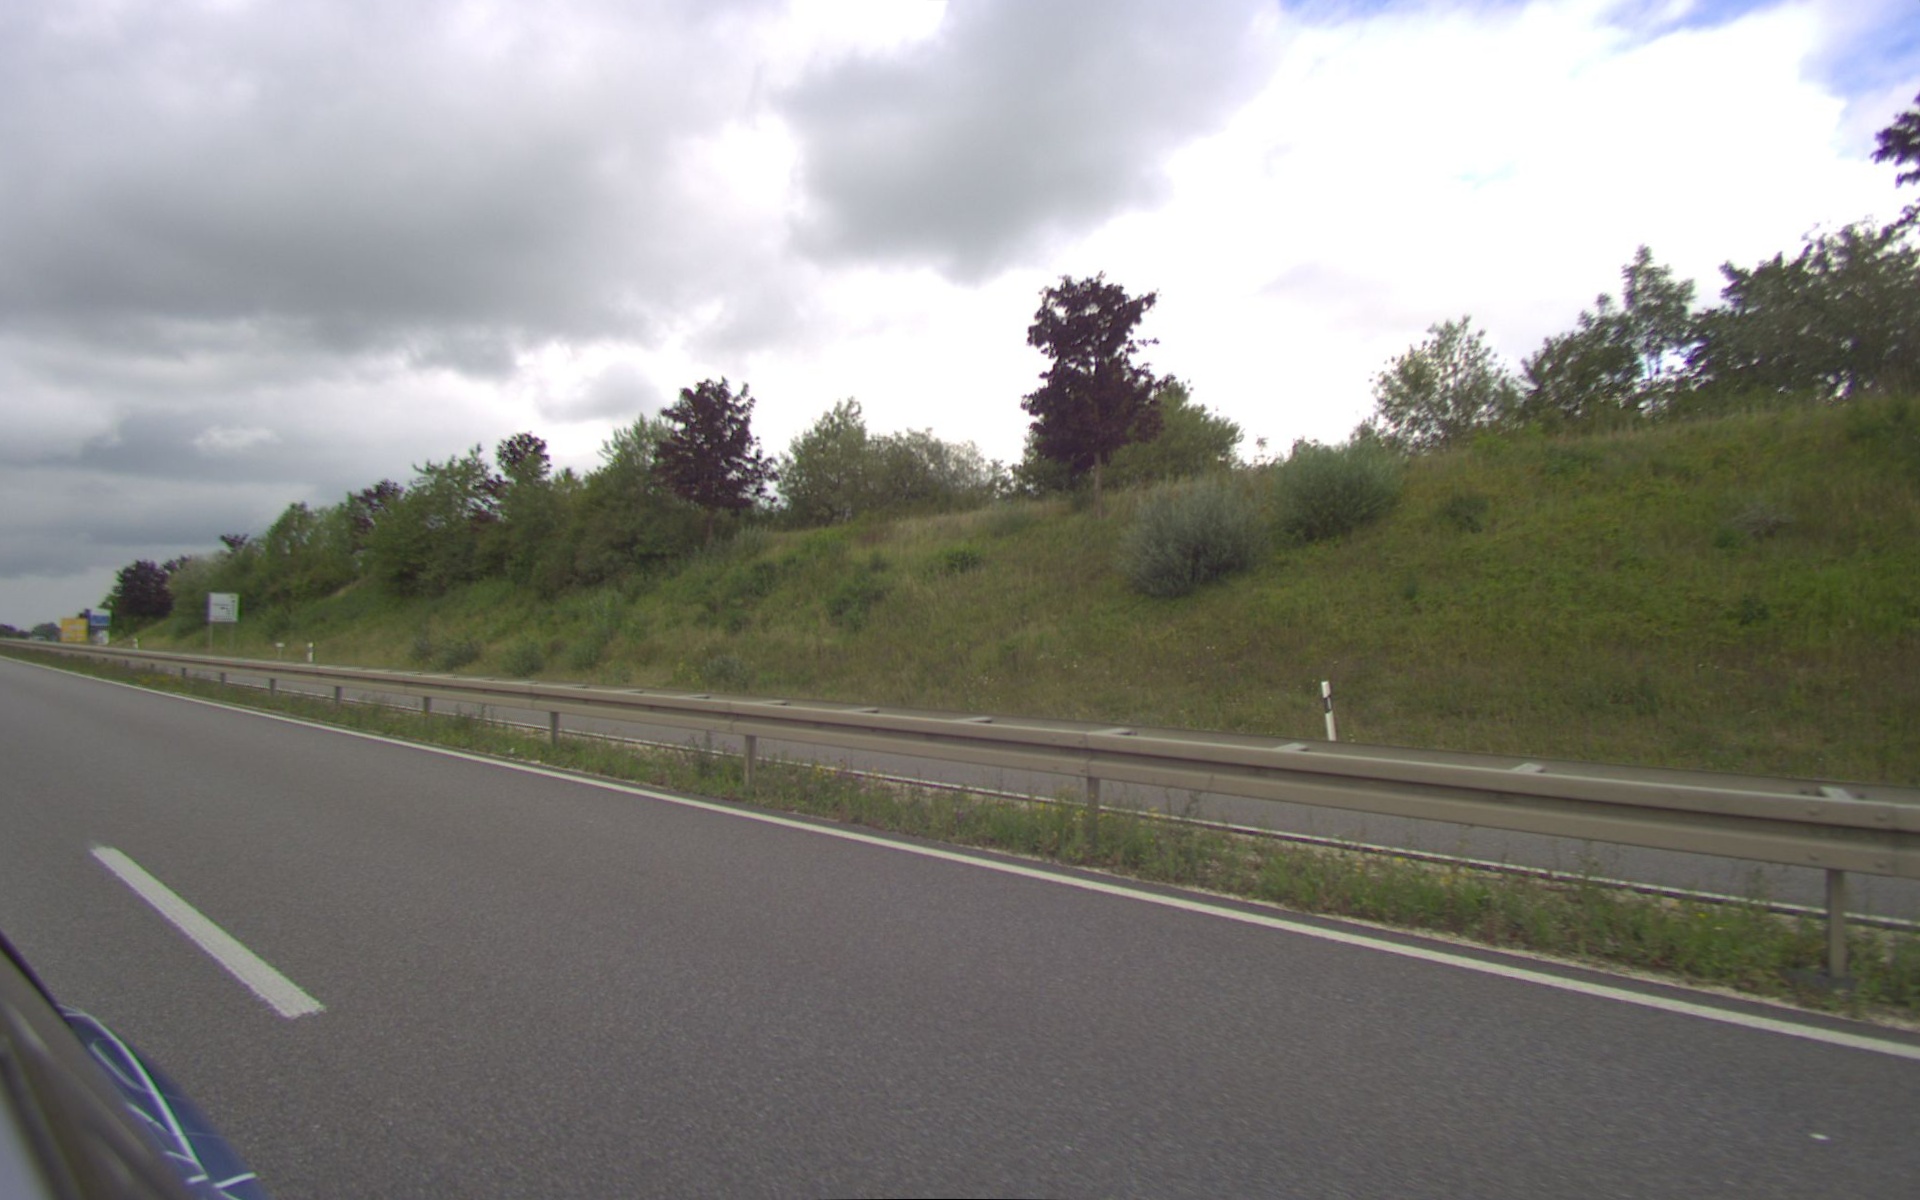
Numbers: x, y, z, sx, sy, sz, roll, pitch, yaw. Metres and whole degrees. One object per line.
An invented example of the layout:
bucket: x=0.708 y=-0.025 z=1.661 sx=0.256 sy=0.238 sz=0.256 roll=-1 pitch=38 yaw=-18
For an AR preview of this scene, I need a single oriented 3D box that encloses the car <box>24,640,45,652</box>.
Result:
car: x=-132.720 y=6.610 z=145.131 sx=4.462 sy=1.529 sz=1.900 roll=-4 pitch=-5 yaw=43
